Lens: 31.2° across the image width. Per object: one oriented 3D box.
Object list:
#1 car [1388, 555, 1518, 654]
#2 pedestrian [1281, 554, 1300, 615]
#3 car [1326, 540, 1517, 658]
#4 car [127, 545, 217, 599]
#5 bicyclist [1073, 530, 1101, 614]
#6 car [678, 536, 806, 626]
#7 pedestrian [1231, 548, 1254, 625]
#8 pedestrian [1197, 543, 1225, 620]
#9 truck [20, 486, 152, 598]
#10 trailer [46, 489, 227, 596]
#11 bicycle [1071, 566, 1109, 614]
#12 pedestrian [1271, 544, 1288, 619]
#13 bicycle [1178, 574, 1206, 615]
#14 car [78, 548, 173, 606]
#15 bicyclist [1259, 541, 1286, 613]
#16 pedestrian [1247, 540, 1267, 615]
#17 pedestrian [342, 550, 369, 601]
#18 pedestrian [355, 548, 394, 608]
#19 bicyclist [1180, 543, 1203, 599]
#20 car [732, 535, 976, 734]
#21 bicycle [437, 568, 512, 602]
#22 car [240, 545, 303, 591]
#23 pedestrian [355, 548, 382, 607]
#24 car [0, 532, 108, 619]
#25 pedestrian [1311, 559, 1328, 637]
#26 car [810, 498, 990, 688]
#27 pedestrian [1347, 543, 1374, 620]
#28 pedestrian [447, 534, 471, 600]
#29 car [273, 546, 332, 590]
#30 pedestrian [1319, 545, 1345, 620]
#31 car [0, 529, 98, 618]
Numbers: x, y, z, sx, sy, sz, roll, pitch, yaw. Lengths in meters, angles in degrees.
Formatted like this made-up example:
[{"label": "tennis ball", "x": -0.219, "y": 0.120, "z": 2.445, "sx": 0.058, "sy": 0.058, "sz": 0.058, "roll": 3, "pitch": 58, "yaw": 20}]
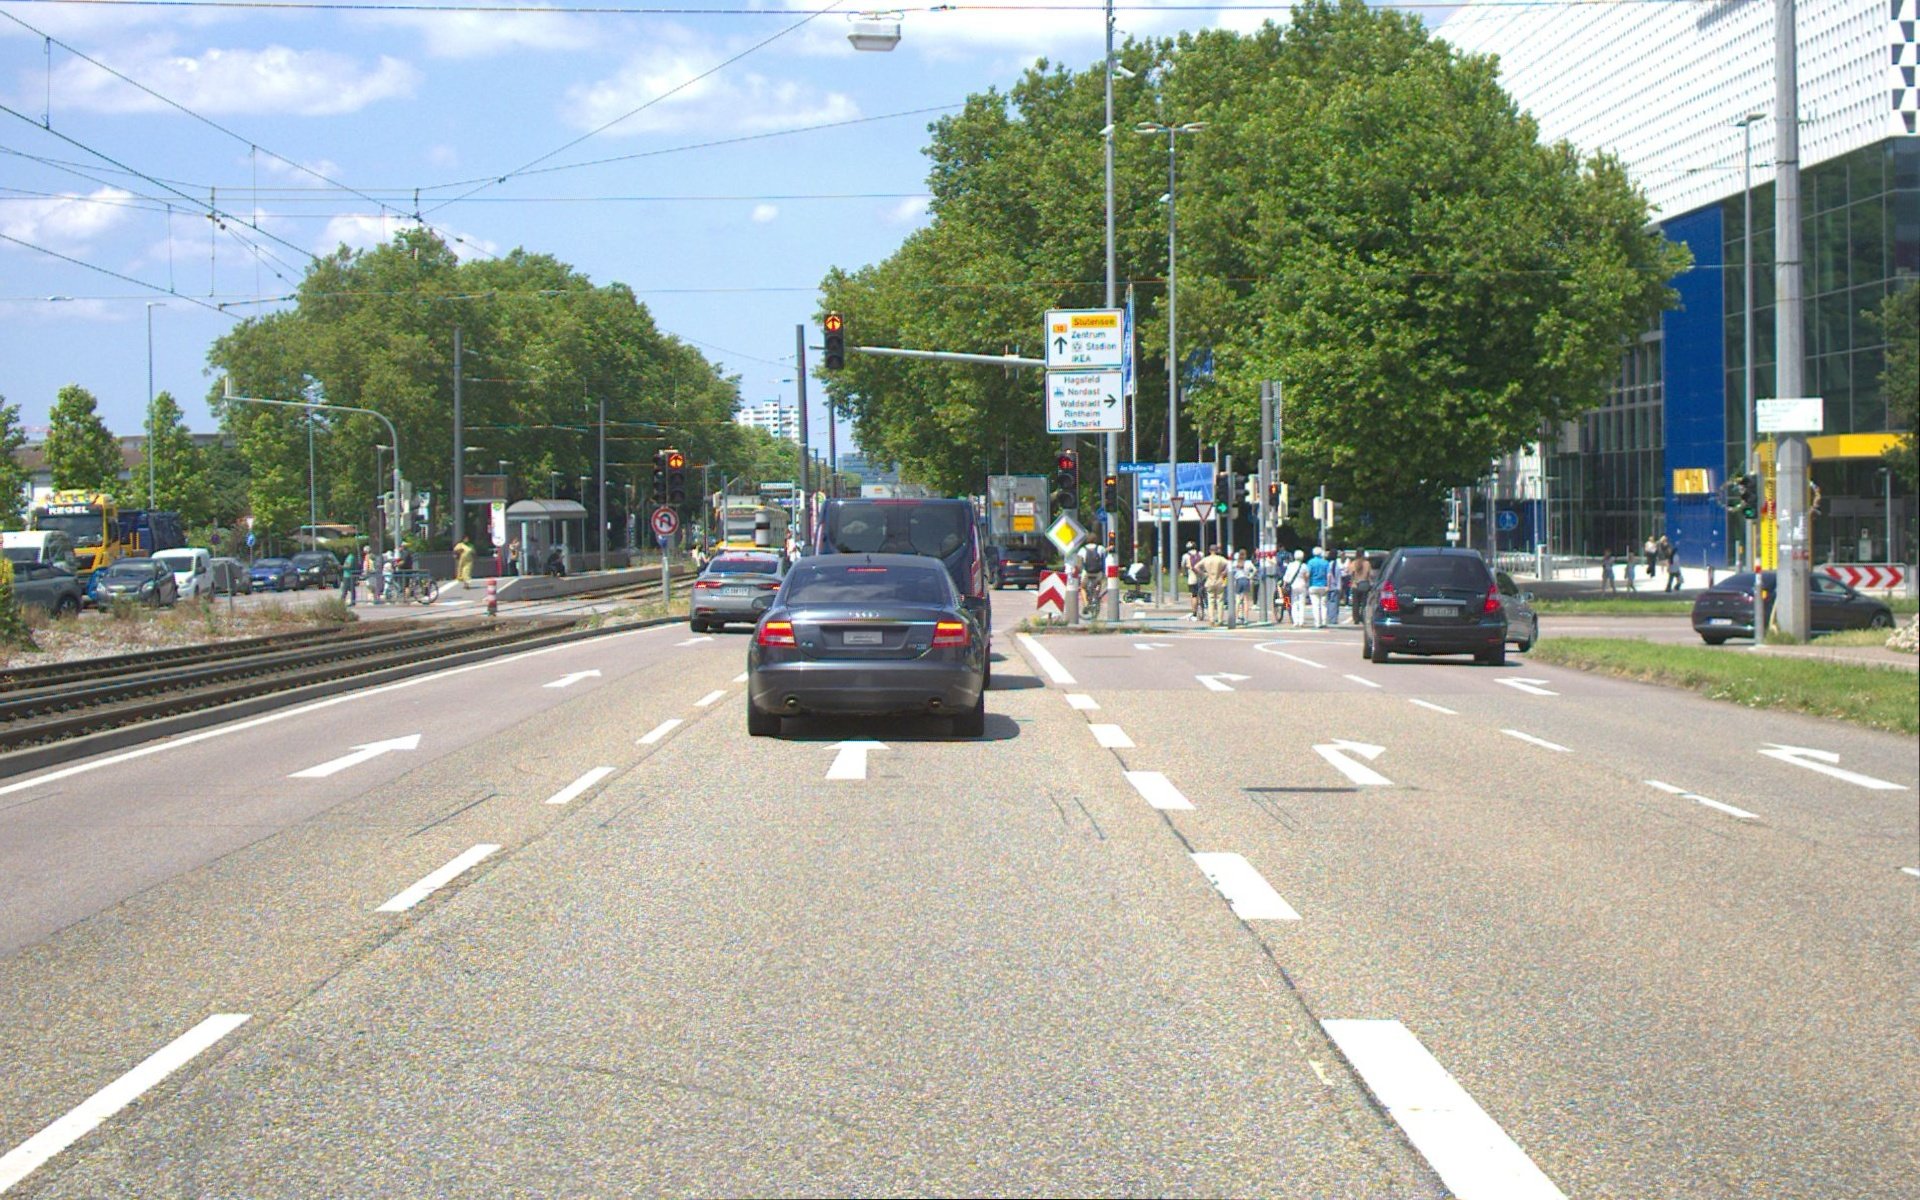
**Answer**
[{"label": "car", "x": 8.060, "y": 0.042, "z": 56.329, "sx": 1.994, "sy": 1.481, "sz": 4.165, "roll": 2, "pitch": 1, "yaw": 8}, {"label": "pedestrian", "x": 7.027, "y": -0.334, "z": 73.147, "sx": 0.372, "sy": 1.299, "sz": 0.365, "roll": 1, "pitch": 1, "yaw": 3}, {"label": "car", "x": 6.224, "y": -0.048, "z": 46.815, "sx": 1.993, "sy": 1.481, "sz": 4.000, "roll": 2, "pitch": 1, "yaw": 0}, {"label": "car", "x": -25.562, "y": -0.921, "z": 111.616, "sx": 1.822, "sy": 1.664, "sz": 4.461, "roll": 1, "pitch": 1, "yaw": 1}, {"label": "bicyclist", "x": 2.705, "y": -0.596, "z": 73.285, "sx": 0.528, "sy": 1.783, "sz": 1.088, "roll": 0, "pitch": 0, "yaw": 0}, {"label": "car", "x": -3.810, "y": -0.361, "z": 60.707, "sx": 1.993, "sy": 1.481, "sz": 4.000, "roll": 2, "pitch": 1, "yaw": 0}, {"label": "pedestrian", "x": 5.996, "y": -0.289, "z": 73.046, "sx": 0.445, "sy": 1.629, "sz": 0.430, "roll": 1, "pitch": 1, "yaw": 3}, {"label": "pedestrian", "x": 5.330, "y": -0.395, "z": 73.094, "sx": 0.554, "sy": 1.629, "sz": 0.433, "roll": 1, "pitch": 1, "yaw": 3}, {"label": "truck", "x": -28.789, "y": -1.911, "z": 113.433, "sx": 2.767, "sy": 3.557, "sz": 6.440, "roll": 1, "pitch": 1, "yaw": -1}, {"label": "trailer", "x": -28.877, "y": -2.019, "z": 121.440, "sx": 2.767, "sy": 3.506, "sz": 15.879, "roll": 1, "pitch": 1, "yaw": -1}, {"label": "bicycle", "x": 2.782, "y": -0.220, "z": 73.634, "sx": 0.688, "sy": 0.990, "sz": 2.751, "roll": 1, "pitch": 1, "yaw": 0}, {"label": "pedestrian", "x": 6.983, "y": -0.396, "z": 75.134, "sx": 0.339, "sy": 1.629, "sz": 0.377, "roll": 1, "pitch": 1, "yaw": 3}, {"label": "bicycle", "x": 5.057, "y": -0.128, "z": 74.881, "sx": 0.550, "sy": 0.874, "sz": 1.697, "roll": 1, "pitch": 1, "yaw": 2}, {"label": "car", "x": -25.327, "y": -0.719, "z": 104.454, "sx": 1.822, "sy": 1.664, "sz": 4.461, "roll": 1, "pitch": 1, "yaw": 0}, {"label": "bicyclist", "x": 7.720, "y": -0.575, "z": 84.942, "sx": 0.529, "sy": 1.758, "sz": 0.827, "roll": 0, "pitch": 0, "yaw": 13}, {"label": "pedestrian", "x": 6.491, "y": -0.485, "z": 75.154, "sx": 0.381, "sy": 1.629, "sz": 0.377, "roll": 1, "pitch": 1, "yaw": 3}, {"label": "pedestrian", "x": -17.044, "y": -0.684, "z": 96.994, "sx": 0.685, "sy": 1.438, "sz": 0.573, "roll": 0, "pitch": 0, "yaw": -4}, {"label": "pedestrian", "x": -16.973, "y": -0.648, "z": 99.707, "sx": 0.824, "sy": 1.714, "sz": 0.774, "roll": 1, "pitch": 1, "yaw": 22}, {"label": "bicyclist", "x": 5.041, "y": -0.632, "z": 74.835, "sx": 0.470, "sy": 1.189, "sz": 0.791, "roll": 0, "pitch": 0, "yaw": 2}, {"label": "car", "x": -0.801, "y": 0.217, "z": 27.545, "sx": 1.792, "sy": 1.450, "sz": 4.000, "roll": -1, "pitch": 1, "yaw": 0}, {"label": "bicycle", "x": -13.673, "y": -0.428, "z": 96.808, "sx": 2.055, "sy": 0.922, "sz": 0.753, "roll": 1, "pitch": 1, "yaw": -10}, {"label": "car", "x": -28.524, "y": -1.341, "z": 142.527, "sx": 1.817, "sy": 1.876, "sz": 4.000, "roll": 1, "pitch": 1, "yaw": -1}, {"label": "pedestrian", "x": -16.539, "y": -0.623, "z": 96.069, "sx": 0.685, "sy": 1.631, "sz": 0.573, "roll": 0, "pitch": 0, "yaw": -4}, {"label": "car", "x": -21.733, "y": -0.566, "z": 78.203, "sx": 1.997, "sy": 1.911, "sz": 4.403, "roll": 2, "pitch": 1, "yaw": 31}, {"label": "pedestrian", "x": 7.631, "y": -0.046, "z": 73.004, "sx": 0.320, "sy": 1.629, "sz": 0.377, "roll": 1, "pitch": 1, "yaw": 3}, {"label": "car", "x": -0.641, "y": -0.106, "z": 37.267, "sx": 1.836, "sy": 1.943, "sz": 4.000, "roll": 0, "pitch": 1, "yaw": -1}, {"label": "pedestrian", "x": 8.739, "y": -0.410, "z": 75.028, "sx": 0.521, "sy": 1.664, "sz": 0.494, "roll": 1, "pitch": 1, "yaw": 3}, {"label": "pedestrian", "x": -15.432, "y": -1.018, "z": 105.972, "sx": 0.685, "sy": 2.007, "sz": 0.573, "roll": 0, "pitch": 0, "yaw": -4}, {"label": "car", "x": -28.517, "y": -1.412, "z": 149.259, "sx": 1.817, "sy": 1.876, "sz": 4.000, "roll": 1, "pitch": 1, "yaw": -1}, {"label": "pedestrian", "x": 8.123, "y": -0.388, "z": 75.041, "sx": 0.504, "sy": 1.629, "sz": 0.449, "roll": 1, "pitch": 1, "yaw": 3}, {"label": "car", "x": -28.506, "y": -0.845, "z": 106.198, "sx": 2.243, "sy": 2.580, "sz": 6.236, "roll": -2, "pitch": 2, "yaw": -2}]
